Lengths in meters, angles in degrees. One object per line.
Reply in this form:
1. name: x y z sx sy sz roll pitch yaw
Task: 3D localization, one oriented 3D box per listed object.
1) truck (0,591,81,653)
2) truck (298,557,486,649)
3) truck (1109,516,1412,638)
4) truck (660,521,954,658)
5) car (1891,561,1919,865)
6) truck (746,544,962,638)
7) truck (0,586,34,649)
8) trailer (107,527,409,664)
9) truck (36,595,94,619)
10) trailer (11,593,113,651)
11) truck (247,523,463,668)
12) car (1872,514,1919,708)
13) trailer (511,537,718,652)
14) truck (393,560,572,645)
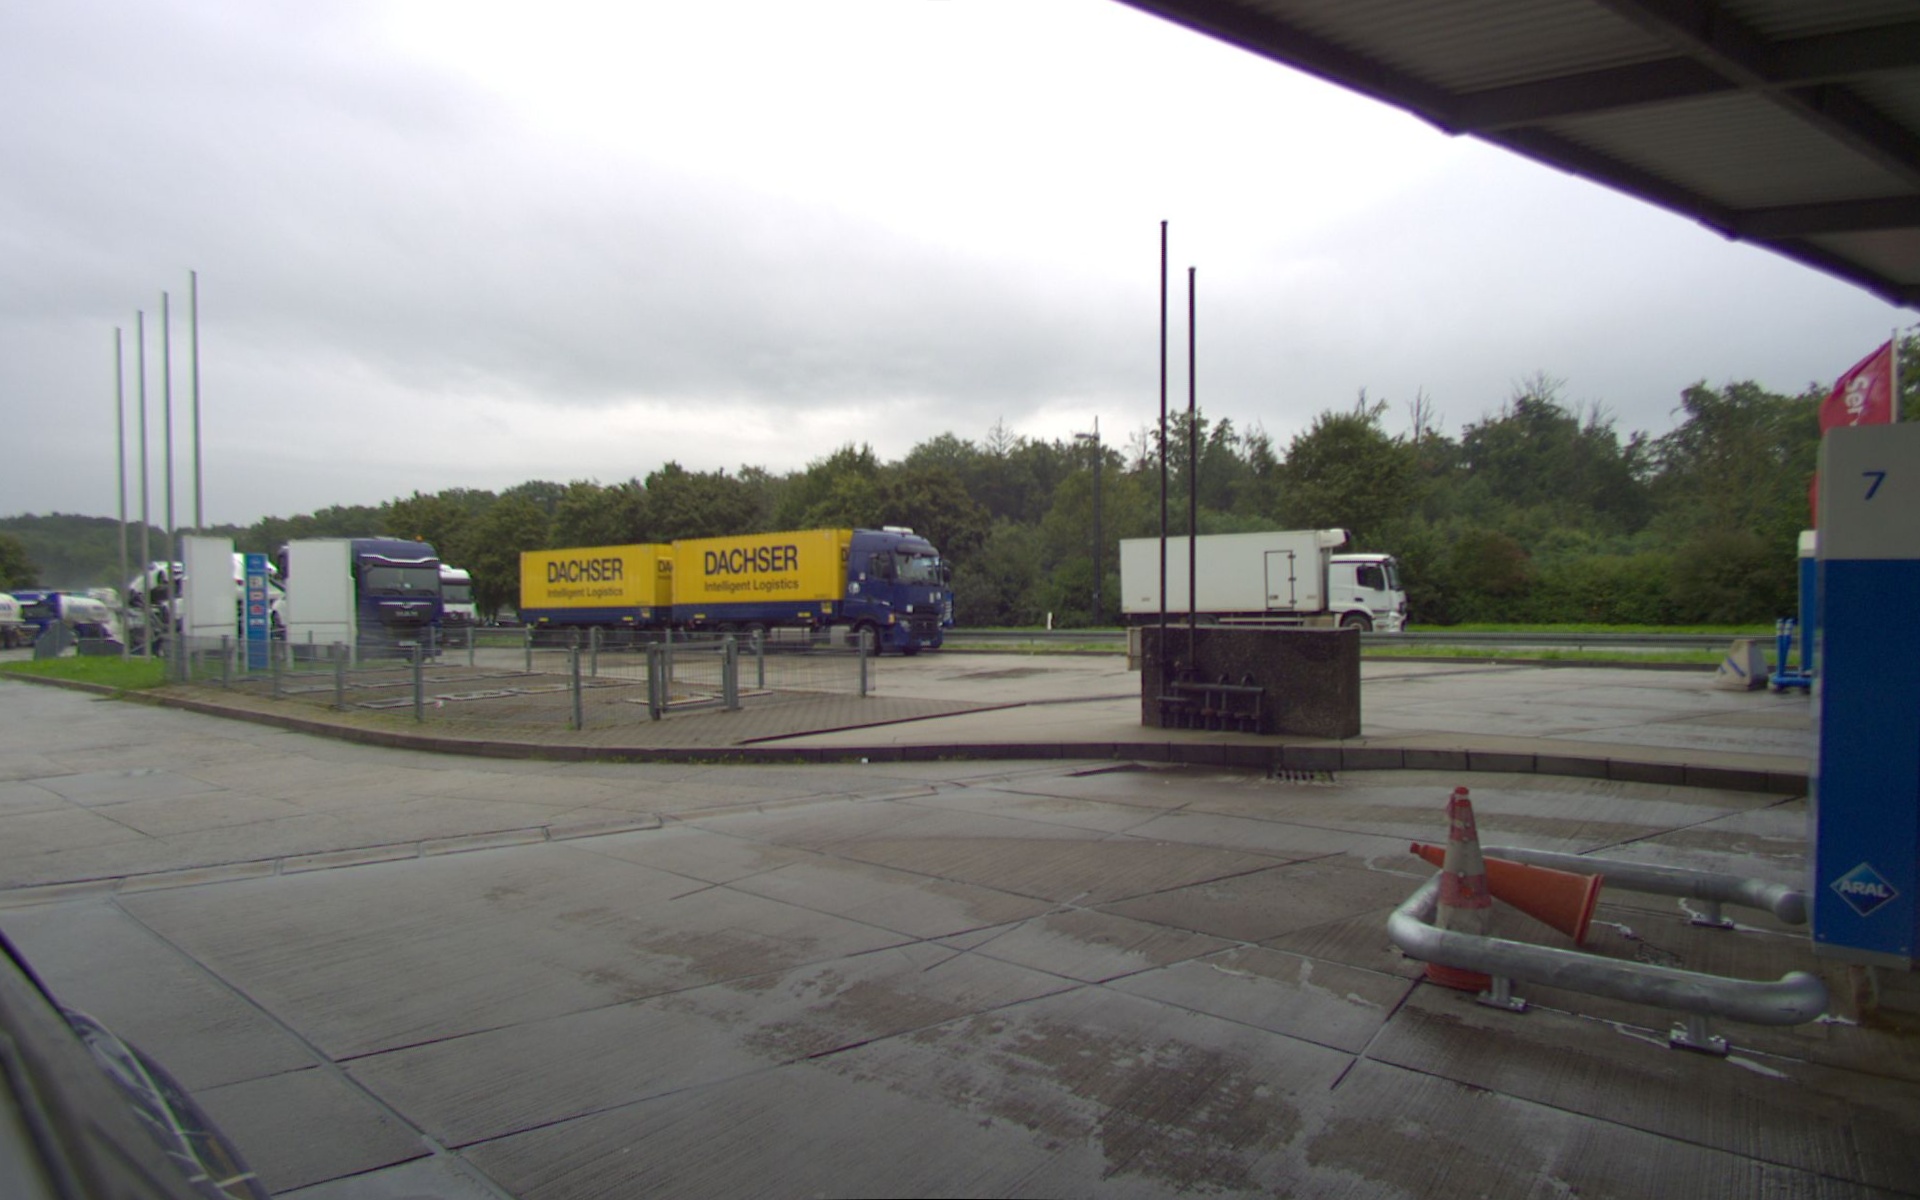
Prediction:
1. truck: -59.421 1.373 64.992 3.000 3.795 6.486 -1 0 -27
2. truck: -27.299 0.179 48.442 10.433 4.063 2.961 -1 0 30
3. truck: 11.014 -0.731 37.730 10.433 4.063 2.961 -1 0 30
4. truck: -5.388 -0.267 33.951 10.608 4.063 2.743 -1 0 33
5. car: 6.880 0.549 3.638 4.996 1.576 1.797 -1 0 37
6. truck: -5.137 -0.344 47.686 10.433 4.063 2.961 -1 0 30
7. truck: -55.555 1.020 55.013 3.196 3.591 12.013 -1 0 -19
8. trailer: -25.414 -0.054 35.921 16.563 4.063 2.957 -1 0 34
9. truck: -140.445 1.124 158.683 14.626 3.591 3.215 -1 -1 34
10. trailer: -62.266 1.436 70.479 2.854 3.666 10.605 -1 0 -28
11. truck: -18.990 -0.111 31.618 7.244 4.063 2.957 -1 0 34
12. car: 14.875 0.116 12.375 5.272 2.482 2.298 -1 -2 37
13. trailer: -13.544 -0.163 39.285 8.833 4.063 2.743 -1 0 33
14. truck: -24.777 0.145 52.271 10.433 4.063 2.961 -1 0 30
